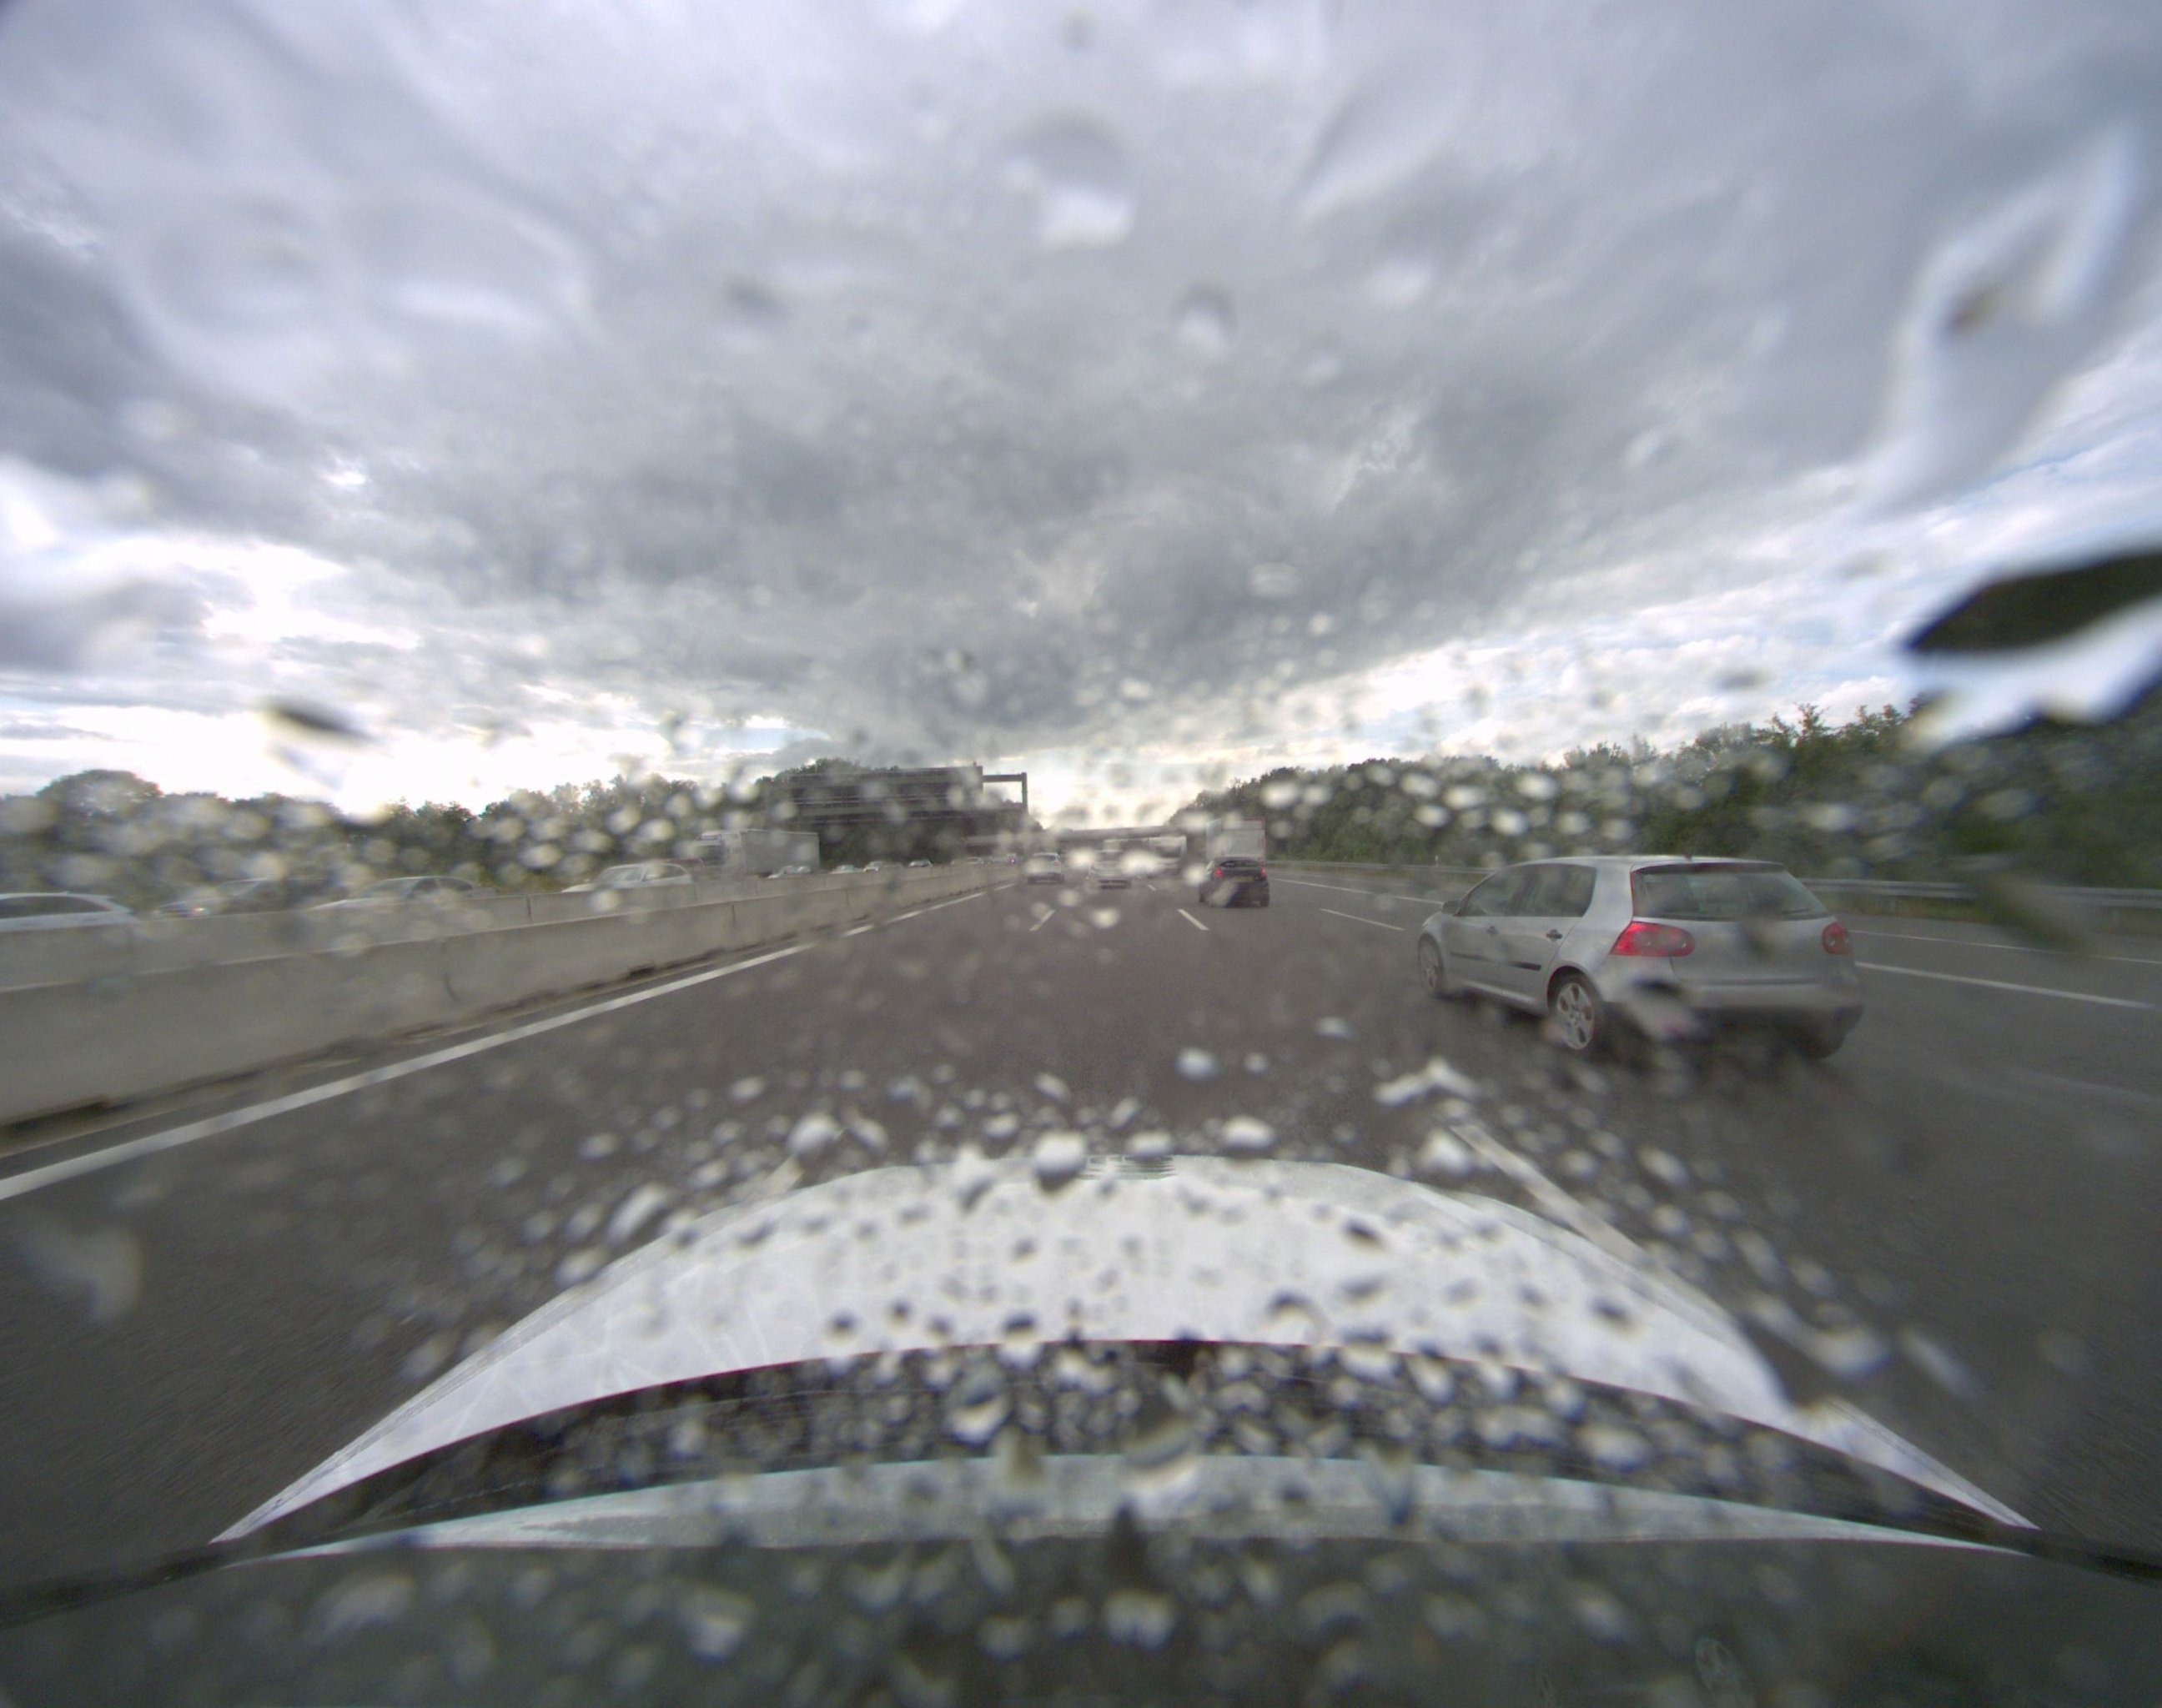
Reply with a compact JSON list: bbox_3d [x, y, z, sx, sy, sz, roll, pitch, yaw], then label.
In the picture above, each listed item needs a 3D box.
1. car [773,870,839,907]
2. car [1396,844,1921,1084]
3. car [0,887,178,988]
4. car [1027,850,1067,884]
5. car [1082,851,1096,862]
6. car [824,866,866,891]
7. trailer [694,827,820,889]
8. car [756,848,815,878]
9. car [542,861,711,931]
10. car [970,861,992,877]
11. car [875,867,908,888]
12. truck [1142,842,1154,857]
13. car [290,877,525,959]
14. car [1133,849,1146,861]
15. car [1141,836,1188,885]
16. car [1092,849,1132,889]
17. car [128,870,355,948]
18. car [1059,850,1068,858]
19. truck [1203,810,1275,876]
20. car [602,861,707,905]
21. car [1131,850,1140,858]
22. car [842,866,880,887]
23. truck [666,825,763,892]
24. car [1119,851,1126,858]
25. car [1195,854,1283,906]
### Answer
[{"bbox_3d":[-15.724,1.916,46.807,1.985,1.873,4.763,-1,0,2],"label":"car"},{"bbox_3d":[4.382,0.683,7.104,1.789,1.477,4.039,-1,0,1],"label":"car"},{"bbox_3d":[-20.574,1.589,15.244,1.986,1.714,4.701,-1,0,2],"label":"car"},{"bbox_3d":[-1.816,0.664,44.856,1.808,1.689,4.853,-1,0,1],"label":"car"},{"bbox_3d":[1.152,0.335,115.301,1.774,1.481,4.355,-1,0,2],"label":"car"},{"bbox_3d":[-18.633,1.912,64.572,1.814,1.781,4.675,-1,0,2],"label":"car"},{"bbox_3d":[-23.318,0.257,59.971,3.226,4.028,13.814,-1,0,2],"label":"trailer"},{"bbox_3d":[-19.502,0.593,53.930,1.985,1.873,4.763,-1,0,2],"label":"car"},{"bbox_3d":[-12.821,1.114,23.423,1.986,1.714,4.874,-1,0,2],"label":"car"},{"bbox_3d":[-13.124,1.943,107.169,1.985,2.013,4.763,-1,0,2],"label":"car"},{"bbox_3d":[-18.178,2.221,78.479,1.986,1.891,4.364,-1,0,2],"label":"car"},{"bbox_3d":[17.768,-1.166,216.685,2.894,3.810,7.279,-1,0,3],"label":"truck"},{"bbox_3d":[-16.955,1.528,20.903,1.986,1.714,4.701,-1,0,2],"label":"car"},{"bbox_3d":[9.839,0.147,136.441,2.035,1.823,4.907,-1,0,3],"label":"car"},{"bbox_3d":[5.270,0.357,52.507,2.557,2.895,7.538,-1,0,2],"label":"car"},{"bbox_3d":[1.406,0.660,38.057,1.774,1.716,4.353,-1,0,1],"label":"car"},{"bbox_3d":[-24.841,1.541,24.403,1.986,2.013,4.544,-1,0,2],"label":"car"},{"bbox_3d":[-4.449,0.000,212.594,1.985,2.181,5.293,-1,0,3],"label":"car"},{"bbox_3d":[9.643,-0.641,50.955,3.120,3.709,9.856,-1,0,3],"label":"truck"},{"bbox_3d":[-20.233,1.326,38.941,1.985,1.873,5.395,-1,0,2],"label":"car"},{"bbox_3d":[12.126,0.039,181.402,2.035,1.823,4.907,-1,0,3],"label":"car"},{"bbox_3d":[-22.693,2.283,84.297,2.421,1.952,4.832,-1,0,3],"label":"car"},{"bbox_3d":[-23.531,0.266,52.634,3.208,4.057,6.235,-1,0,2],"label":"truck"},{"bbox_3d":[11.675,0.134,228.496,1.875,1.686,3.999,-1,0,-1],"label":"car"},{"bbox_3d":[4.641,0.716,24.454,1.878,1.407,4.283,-1,0,1],"label":"car"}]
